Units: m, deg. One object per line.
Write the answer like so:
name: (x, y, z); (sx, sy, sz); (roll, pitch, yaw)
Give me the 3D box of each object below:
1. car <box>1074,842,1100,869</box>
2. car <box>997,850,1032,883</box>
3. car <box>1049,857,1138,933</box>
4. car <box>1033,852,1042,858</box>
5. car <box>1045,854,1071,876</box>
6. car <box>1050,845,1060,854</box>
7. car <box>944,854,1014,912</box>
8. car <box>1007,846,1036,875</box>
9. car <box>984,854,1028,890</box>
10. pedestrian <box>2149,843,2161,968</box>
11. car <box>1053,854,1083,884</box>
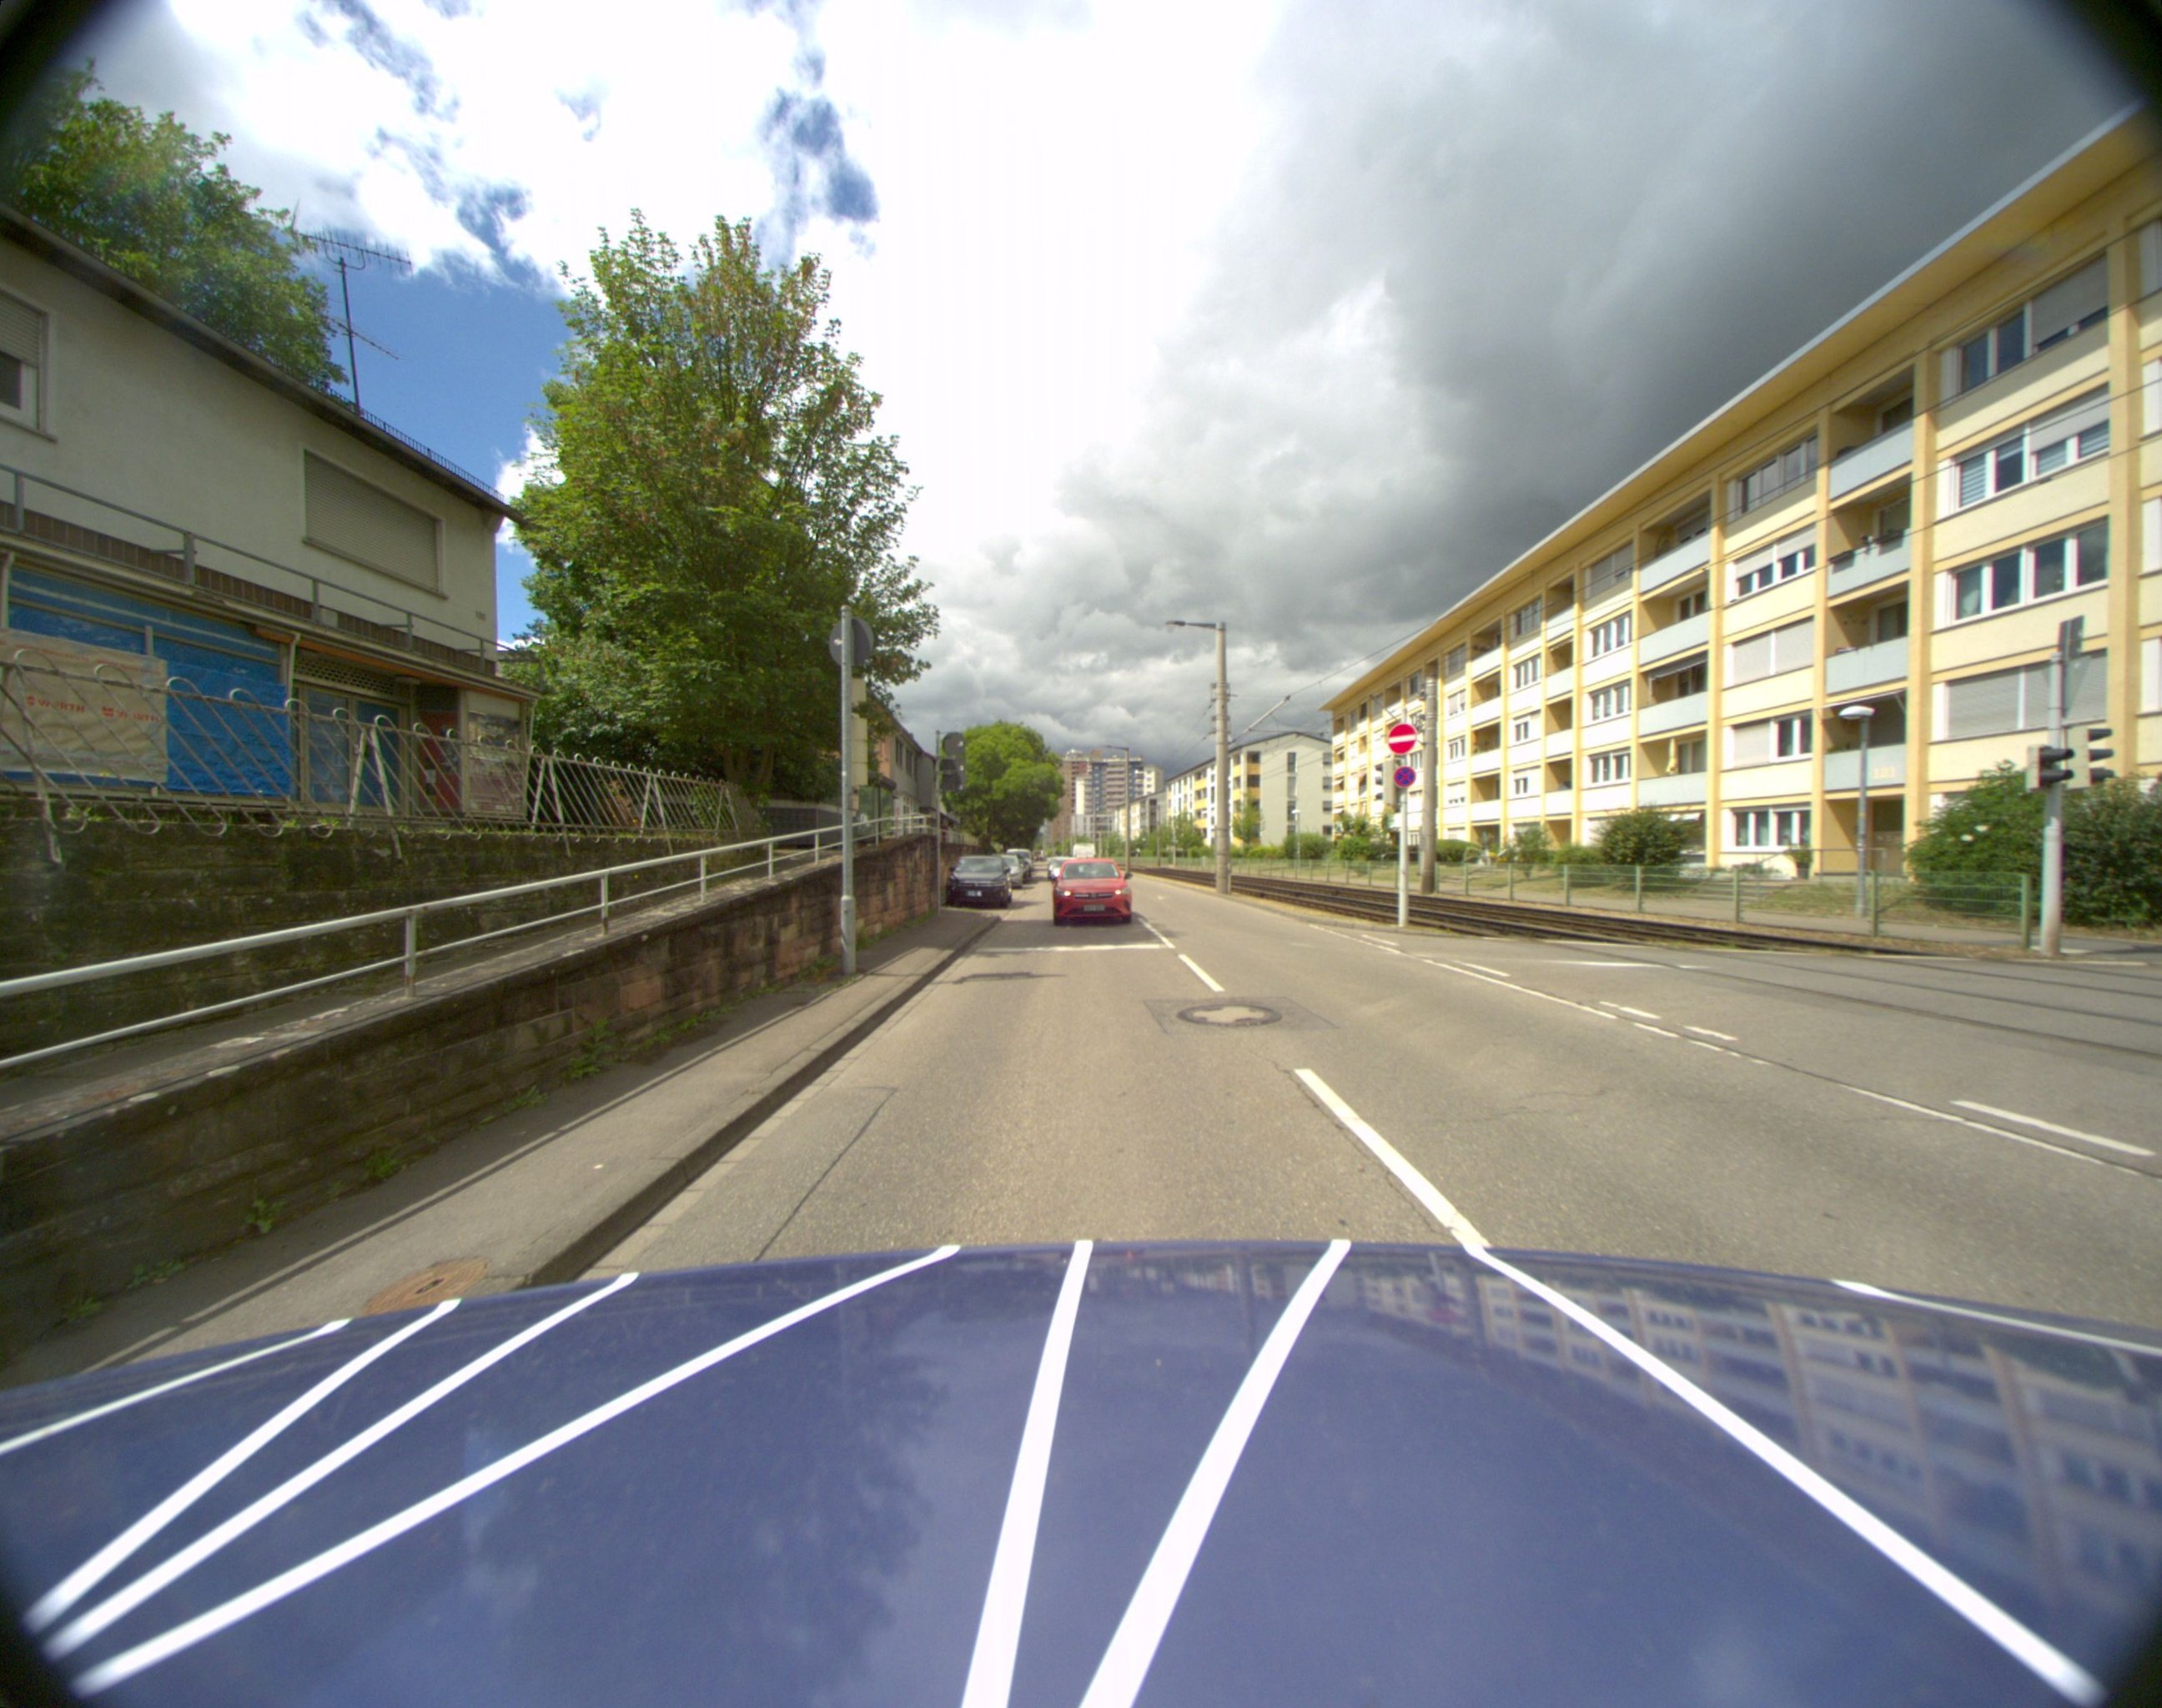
car: (0.492, 0.090, 72.300); (2.237, 2.460, 5.085); (0, 1, -2)
car: (-3.611, 0.648, 41.706); (1.760, 1.706, 3.999); (0, 1, -2)
car: (0.171, 0.855, 17.804); (1.783, 1.434, 4.130); (-2, 1, -2)
car: (-12.882, 0.410, 226.324); (2.441, 1.717, 5.482); (0, 1, -2)
car: (-1.534, 0.705, 51.998); (1.639, 1.346, 3.999); (-2, 1, -1)
car: (-6.151, -1.055, 179.851); (2.237, 2.051, 4.360); (0, 1, -2)
car: (-2.997, 0.805, 23.092); (1.760, 1.570, 4.020); (0, 1, -2)
car: (-4.182, 0.414, 53.849); (1.854, 1.997, 4.968); (0, 1, -2)
car: (-3.430, 0.777, 35.404); (1.760, 1.559, 4.173); (1, 0, -2)
pedestrian: (14.143, 0.670, 9.435); (0.605, 1.598, 0.773); (1, 1, 0)
car: (-0.701, 0.738, 39.648); (1.499, 1.477, 3.519); (0, 1, -2)
